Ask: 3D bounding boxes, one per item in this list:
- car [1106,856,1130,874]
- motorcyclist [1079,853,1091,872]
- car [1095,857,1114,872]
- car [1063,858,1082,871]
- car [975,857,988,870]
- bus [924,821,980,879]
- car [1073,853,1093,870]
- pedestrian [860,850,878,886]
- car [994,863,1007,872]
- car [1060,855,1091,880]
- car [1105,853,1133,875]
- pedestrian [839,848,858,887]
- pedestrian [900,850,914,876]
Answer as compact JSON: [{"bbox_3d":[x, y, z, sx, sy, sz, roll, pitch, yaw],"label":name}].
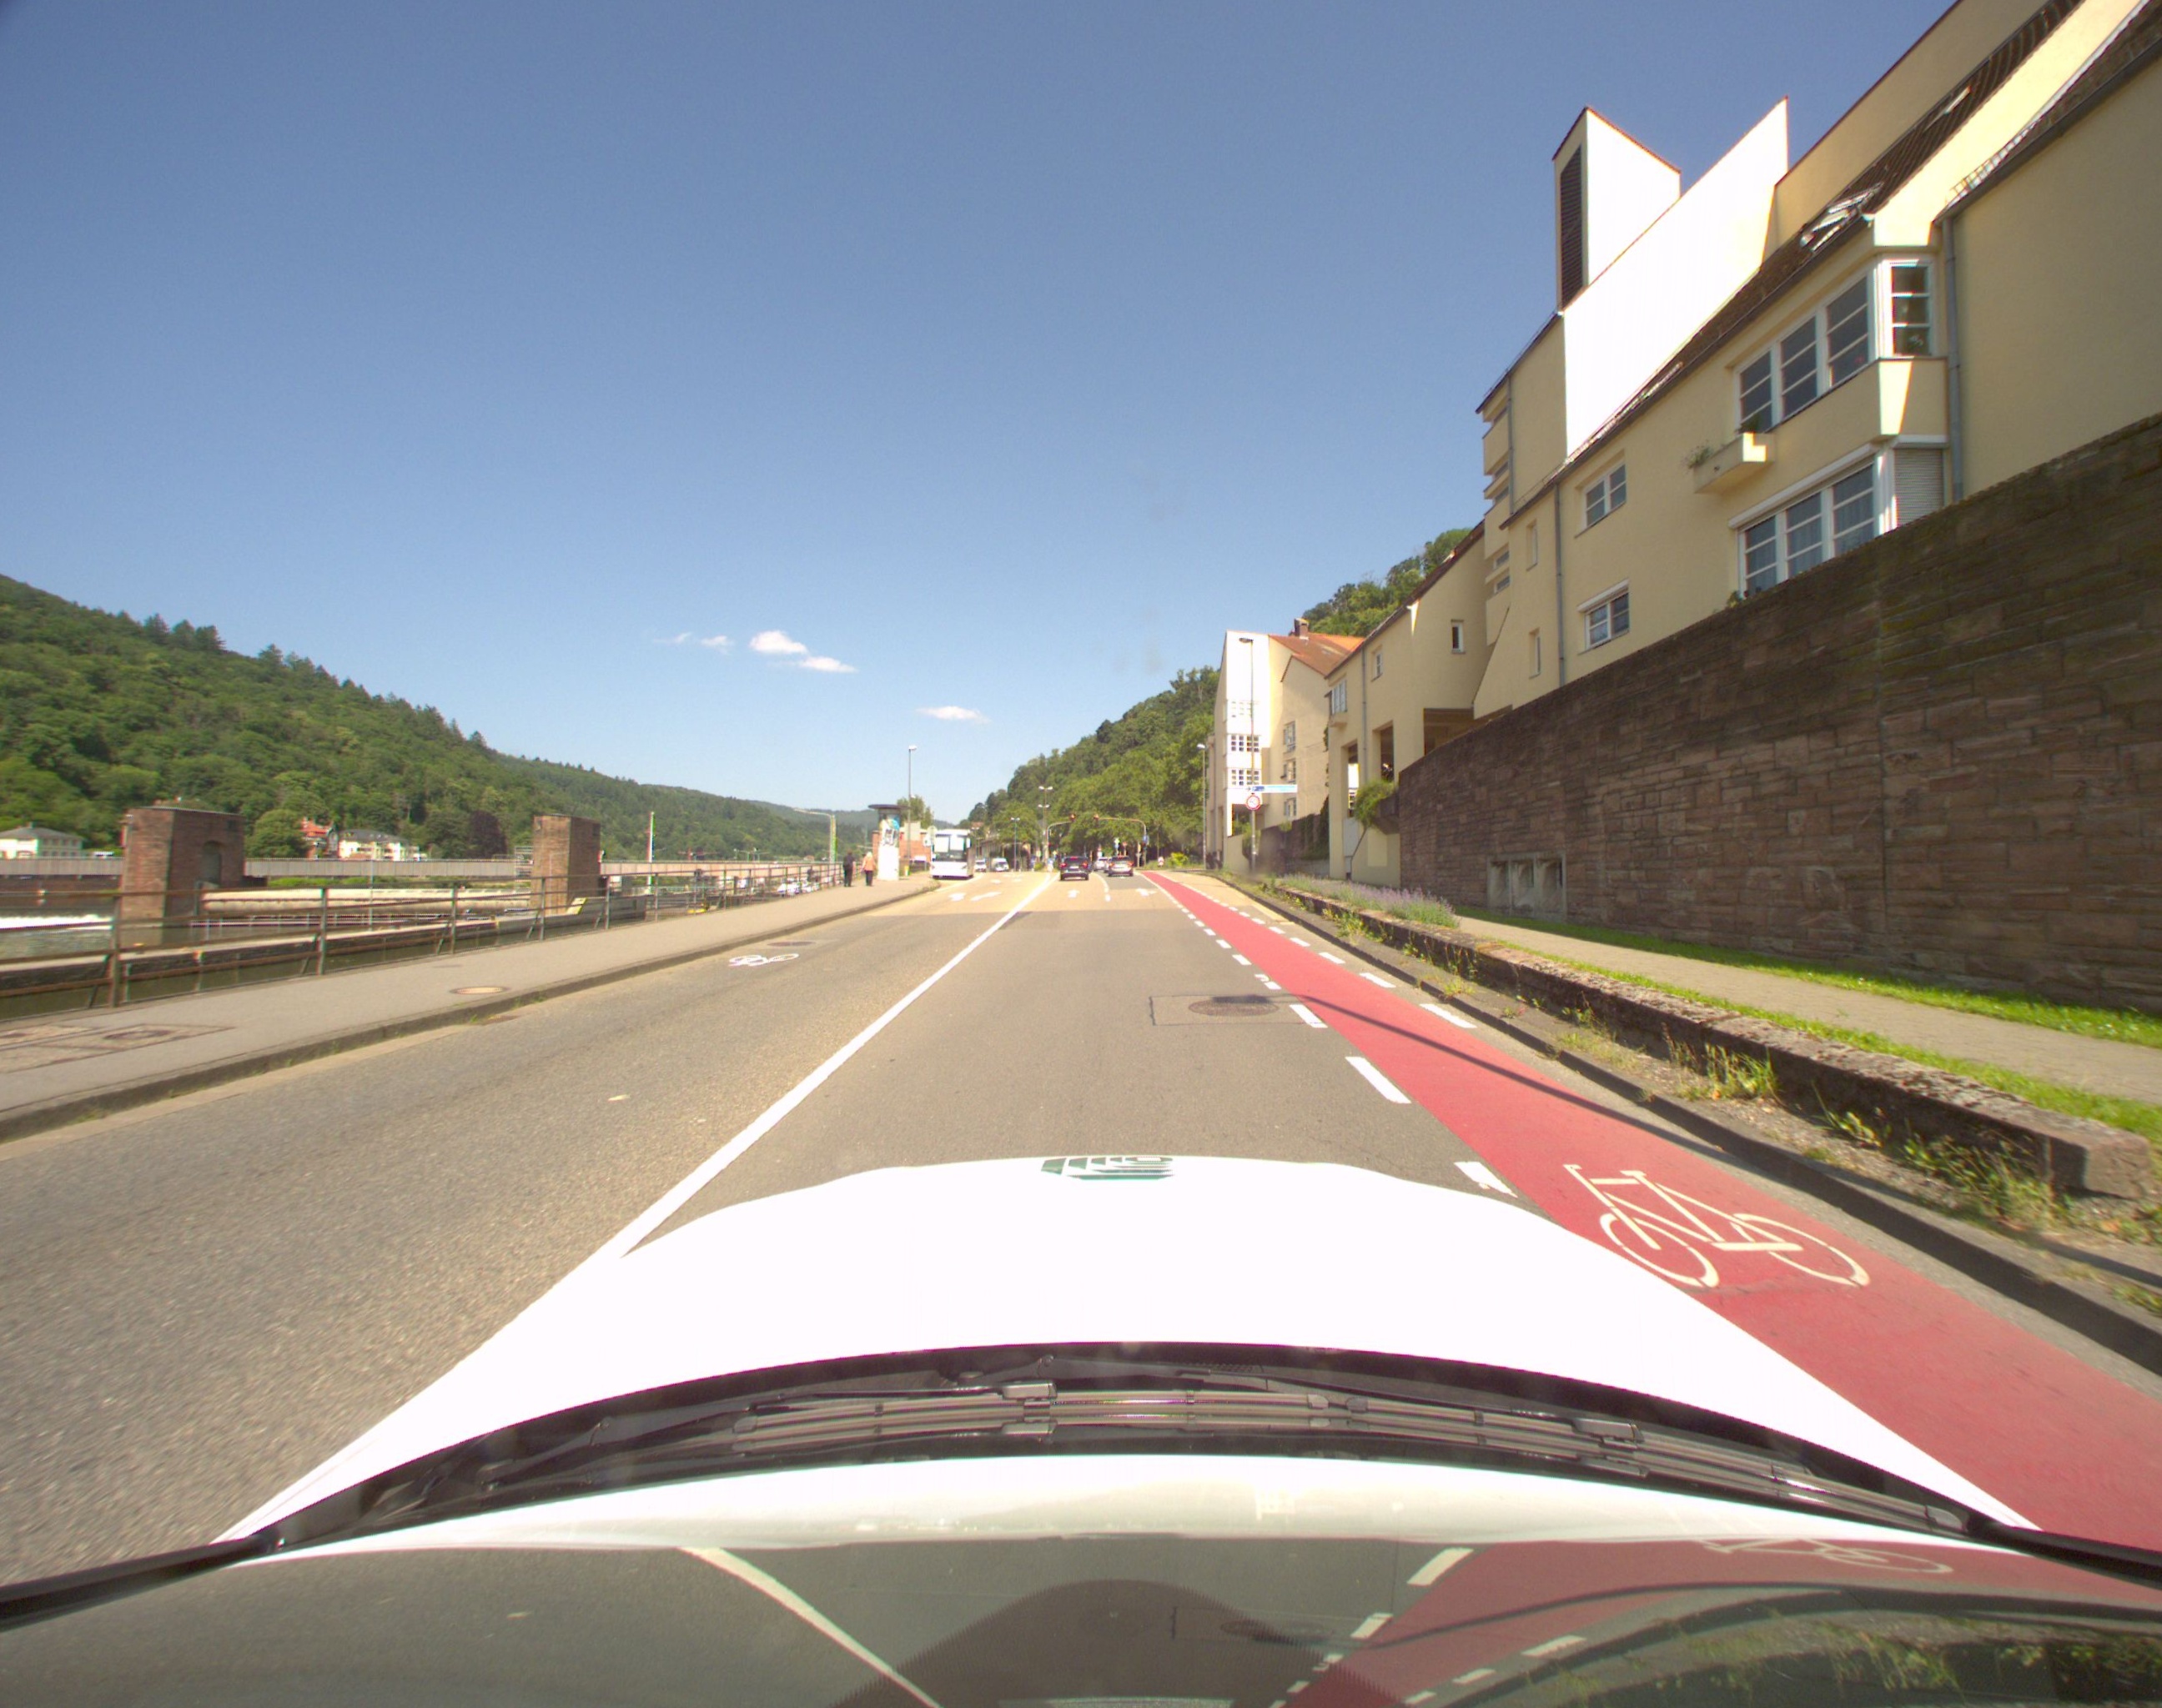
[{"bbox_3d":[3.181,0.939,70.921,1.987,1.534,4.858,0,-1,0],"label":"car"},{"bbox_3d":[0.368,0.751,73.181,1.072,1.684,1.156,-1,0,-1],"label":"motorcyclist"},{"bbox_3d":[2.508,1.152,87.269,1.780,1.532,4.735,-2,-1,-1],"label":"car"},{"bbox_3d":[-0.939,1.090,87.285,1.862,1.359,3.997,-1,0,-2],"label":"car"},{"bbox_3d":[-17.547,1.691,143.847,2.213,2.078,5.030,-4,0,-7],"label":"car"},{"bbox_3d":[-9.595,-0.262,62.017,2.951,3.801,13.222,3,-1,-4],"label":"bus"},{"bbox_3d":[0.177,0.685,79.633,1.862,1.562,3.997,-1,0,-2],"label":"car"},{"bbox_3d":[-9.884,0.650,37.975,0.702,1.621,0.815,0,-1,-8],"label":"pedestrian"},{"bbox_3d":[-14.009,2.356,141.862,1.989,1.432,4.163,-1,0,-3],"label":"car"},{"bbox_3d":[-0.315,0.823,51.583,1.863,1.514,4.151,0,-1,1],"label":"car"},{"bbox_3d":[2.791,0.726,60.216,1.882,1.521,4.305,0,-1,1],"label":"car"},{"bbox_3d":[-10.402,0.615,36.457,0.682,1.709,0.772,0,-1,-6],"label":"pedestrian"},{"bbox_3d":[-12.376,0.650,57.942,0.891,1.796,1.038,0,-1,-6],"label":"pedestrian"}]
